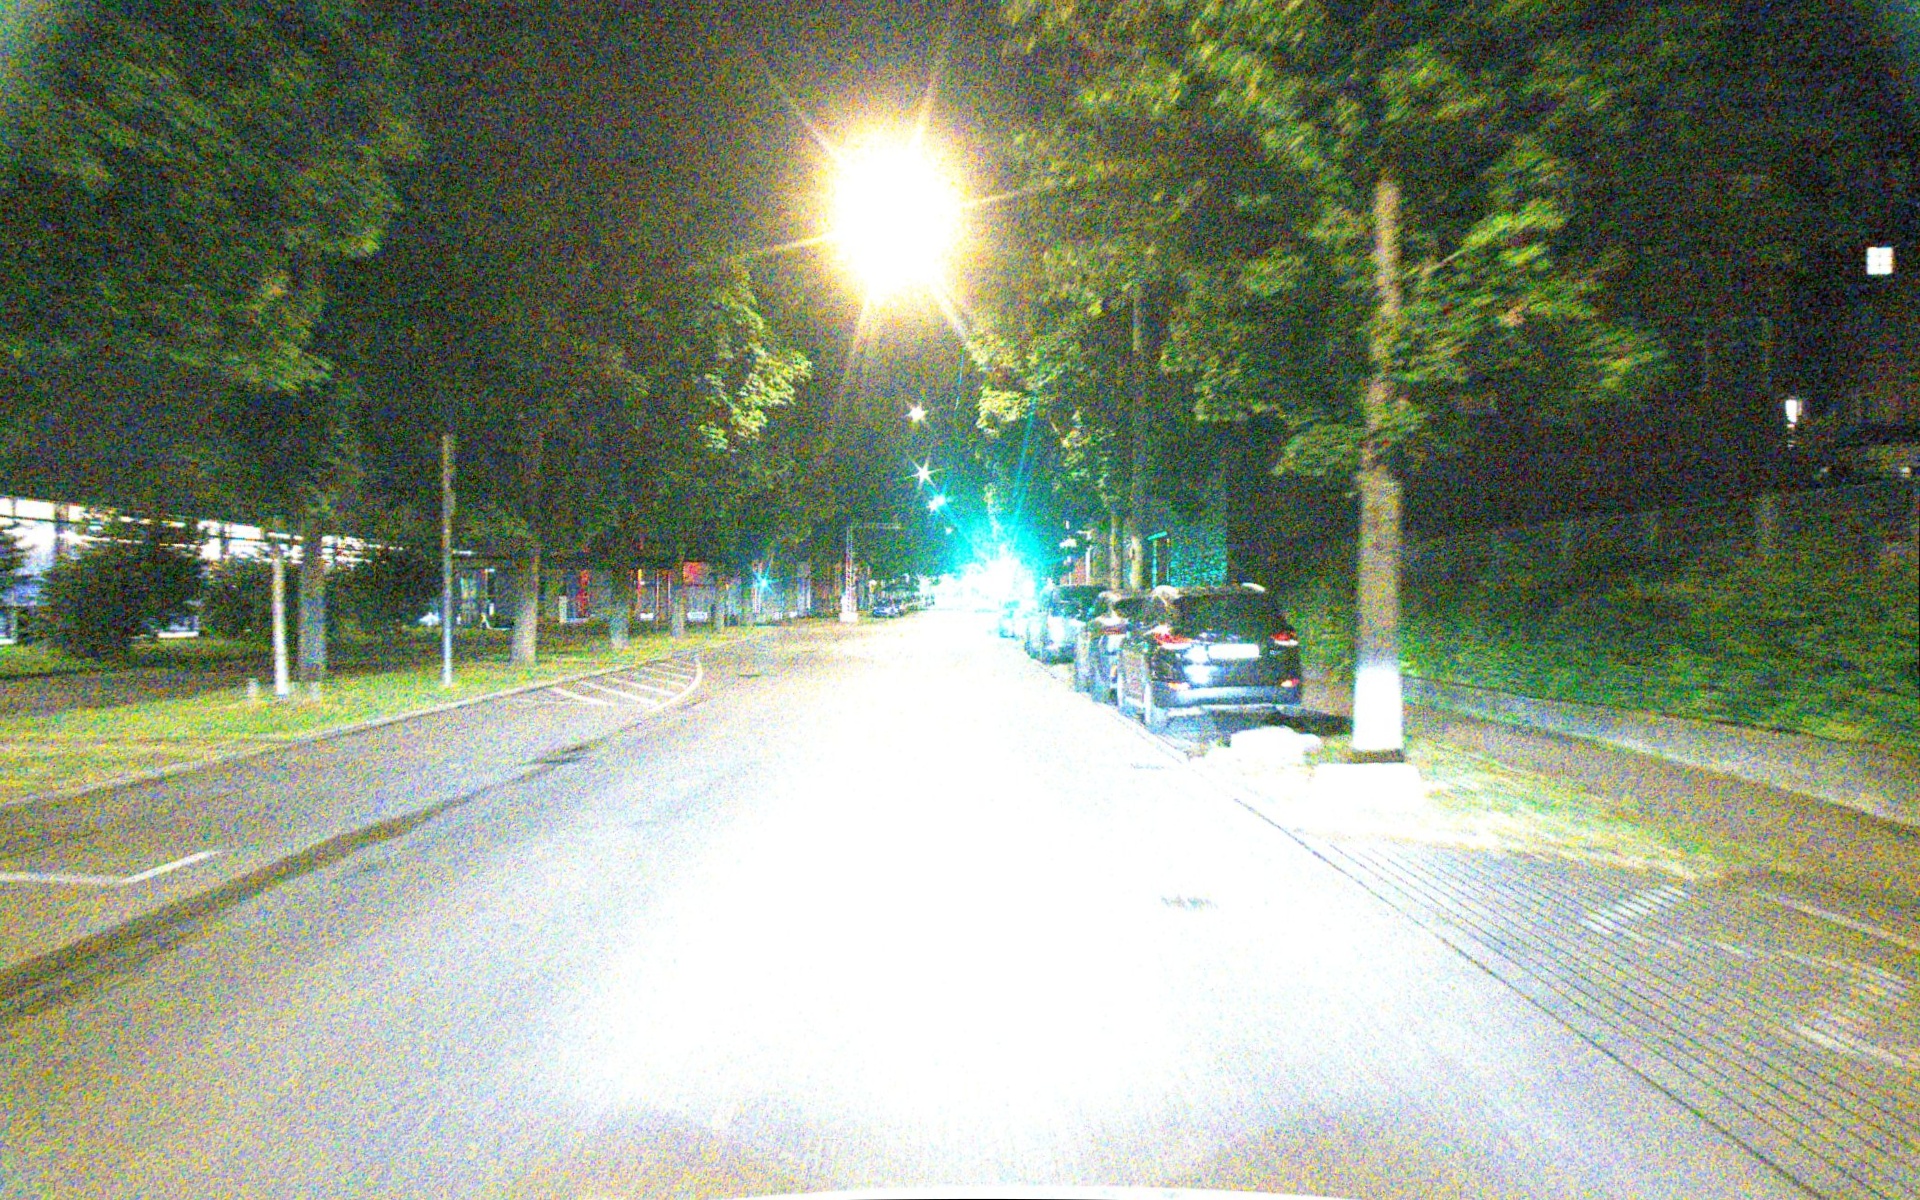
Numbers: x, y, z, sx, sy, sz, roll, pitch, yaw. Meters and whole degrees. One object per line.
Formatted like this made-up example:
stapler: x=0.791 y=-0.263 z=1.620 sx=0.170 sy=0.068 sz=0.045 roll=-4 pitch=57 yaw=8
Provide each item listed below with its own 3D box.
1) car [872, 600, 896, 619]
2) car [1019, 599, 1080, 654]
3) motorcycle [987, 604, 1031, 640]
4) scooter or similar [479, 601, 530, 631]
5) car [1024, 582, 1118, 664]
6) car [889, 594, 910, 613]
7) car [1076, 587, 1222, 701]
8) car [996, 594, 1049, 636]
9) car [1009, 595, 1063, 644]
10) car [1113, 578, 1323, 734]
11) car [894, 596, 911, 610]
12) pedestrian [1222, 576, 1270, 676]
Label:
car: x=-5.878 y=0.699 z=128.065 sx=1.705 sy=1.440 sz=3.751 roll=0 pitch=0 yaw=-1
car: x=2.486 y=0.715 z=46.431 sx=1.489 sy=1.420 sz=3.984 roll=-1 pitch=0 yaw=0
motorcycle: x=1.794 y=0.789 z=60.779 sx=0.625 sy=1.292 sz=2.058 roll=0 pitch=0 yaw=34
scooter or similar: x=-16.350 y=0.576 z=59.423 sx=1.639 sy=1.025 sz=0.544 roll=2 pitch=0 yaw=1
car: x=2.653 y=0.535 z=40.477 sx=1.736 sy=1.838 sz=4.275 roll=-2 pitch=0 yaw=-3
car: x=-5.219 y=0.299 z=143.186 sx=1.705 sy=1.440 sz=3.752 roll=0 pitch=2 yaw=-1
car: x=2.881 y=0.648 z=26.024 sx=1.815 sy=1.632 sz=4.209 roll=-1 pitch=0 yaw=0
car: x=2.423 y=0.562 z=64.854 sx=1.815 sy=1.618 sz=4.299 roll=0 pitch=0 yaw=-1
car: x=2.598 y=0.649 z=57.401 sx=1.559 sy=1.561 sz=4.137 roll=-2 pitch=0 yaw=-1
car: x=3.064 y=0.614 z=20.466 sx=1.815 sy=1.683 sz=4.208 roll=-2 pitch=0 yaw=-1
car: x=-5.943 y=0.301 z=171.118 sx=1.705 sy=1.440 sz=3.751 roll=0 pitch=0 yaw=-1
pedestrian: x=5.137 y=0.457 z=29.738 sx=0.691 sy=1.752 sz=0.821 roll=-1 pitch=0 yaw=-1
